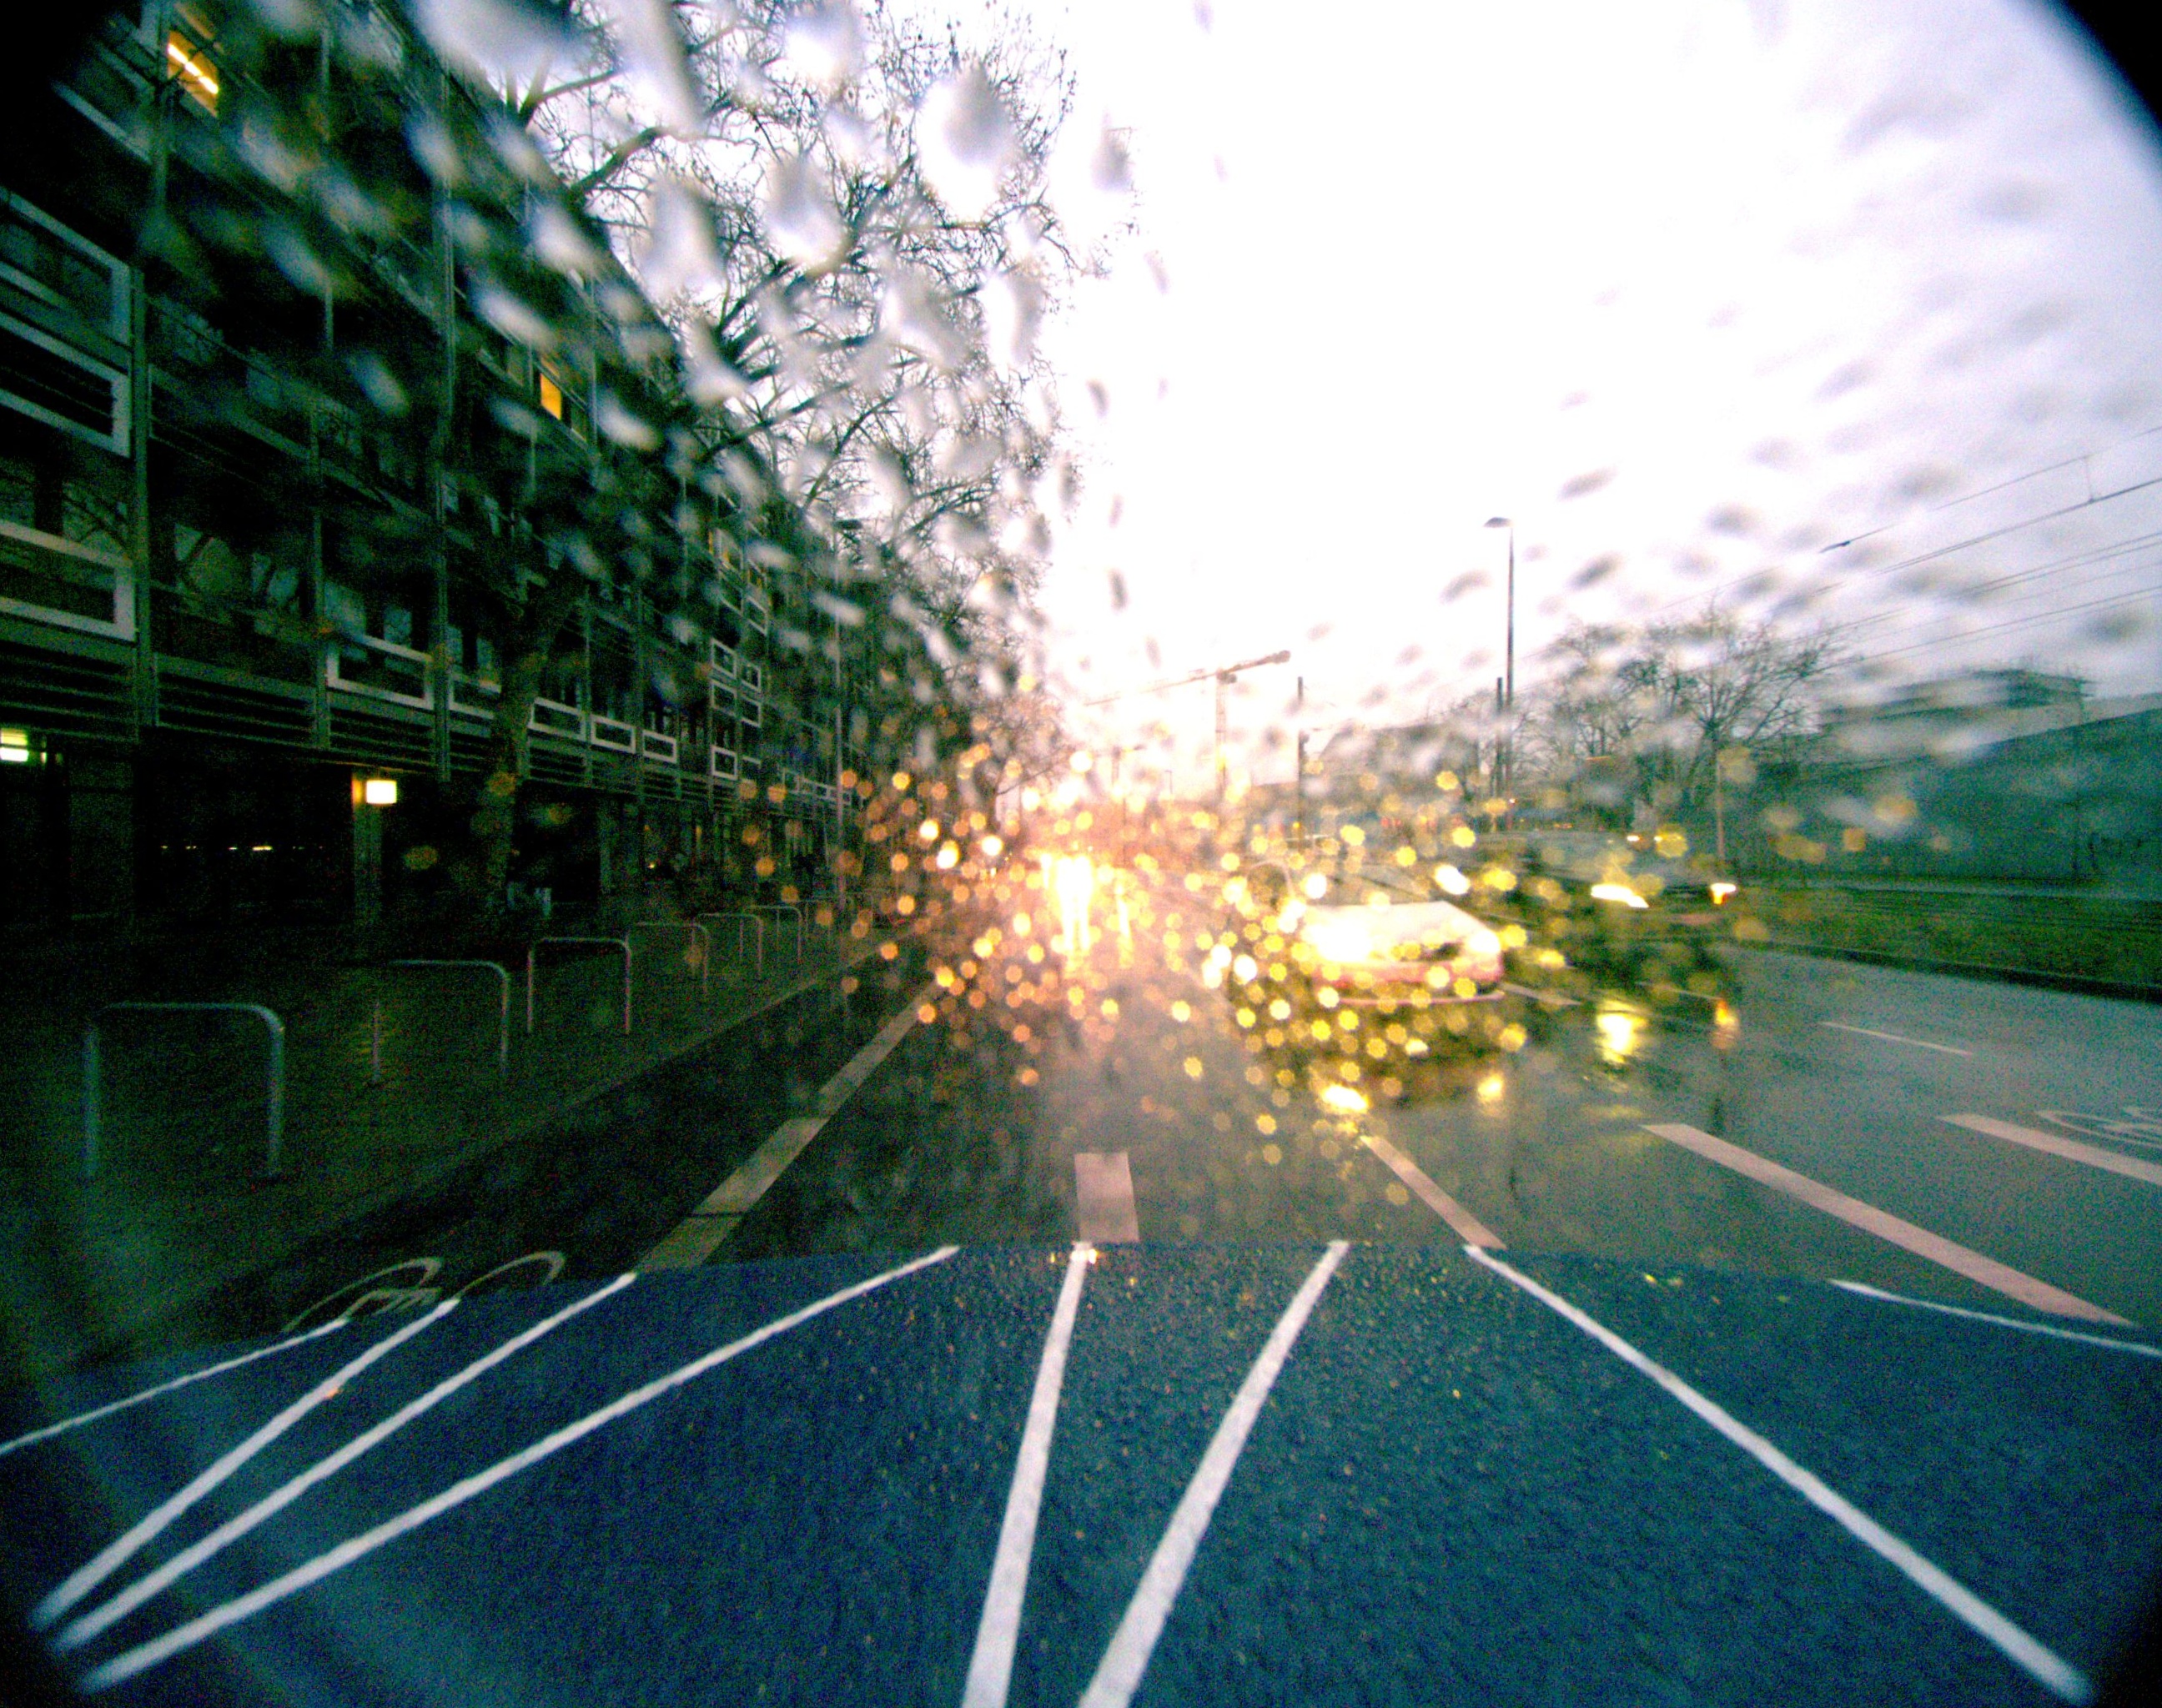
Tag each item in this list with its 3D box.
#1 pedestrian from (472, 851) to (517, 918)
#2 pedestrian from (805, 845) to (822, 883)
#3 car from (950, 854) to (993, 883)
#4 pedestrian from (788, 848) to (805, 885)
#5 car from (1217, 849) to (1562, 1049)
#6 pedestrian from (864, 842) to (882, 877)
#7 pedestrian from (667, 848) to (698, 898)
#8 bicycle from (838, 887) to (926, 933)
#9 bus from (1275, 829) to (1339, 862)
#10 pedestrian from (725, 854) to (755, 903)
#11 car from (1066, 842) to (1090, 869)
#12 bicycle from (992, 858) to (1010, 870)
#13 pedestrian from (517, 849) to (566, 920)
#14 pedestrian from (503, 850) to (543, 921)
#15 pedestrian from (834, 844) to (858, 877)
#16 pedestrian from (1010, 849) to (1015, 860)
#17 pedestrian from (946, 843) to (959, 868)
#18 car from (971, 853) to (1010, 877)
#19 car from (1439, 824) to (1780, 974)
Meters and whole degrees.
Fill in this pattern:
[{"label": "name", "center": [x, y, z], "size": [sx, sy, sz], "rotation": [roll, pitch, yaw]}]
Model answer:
[{"label": "pedestrian", "center": [-13.983, 0.708, 18.125], "size": [0.484, 1.555, 0.745], "rotation": [0, 1, -1]}, {"label": "pedestrian", "center": [-12.201, 0.432, 34.613], "size": [0.661, 1.708, 0.841], "rotation": [-1, 1, -22]}, {"label": "car", "center": [-6.108, 0.781, 42.727], "size": [1.608, 1.424, 3.930], "rotation": [2, 1, 2]}, {"label": "pedestrian", "center": [-12.872, 0.552, 34.384], "size": [0.642, 1.645, 0.841], "rotation": [-1, 1, -19]}, {"label": "car", "center": [2.786, 0.725, 7.984], "size": [1.778, 1.466, 4.128], "rotation": [-3, 1, -2]}, {"label": "pedestrian", "center": [-12.065, 0.341, 44.009], "size": [0.822, 2.002, 0.735], "rotation": [0, 1, -2]}, {"label": "pedestrian", "center": [-13.446, 0.629, 25.655], "size": [0.617, 1.647, 0.780], "rotation": [0, 1, 1]}, {"label": "bicycle", "center": [-4.426, 1.242, 16.956], "size": [1.792, 0.968, 0.617], "rotation": [1, 1, -4]}, {"label": "bus", "center": [26.253, -0.948, 89.066], "size": [2.815, 3.557, 12.299], "rotation": [-1, 0, -6]}, {"label": "pedestrian", "center": [-10.853, 0.780, 24.170], "size": [0.649, 1.535, 0.615], "rotation": [0, 1, 1]}, {"label": "car", "center": [-0.206, 0.114, 59.945], "size": [1.858, 2.002, 4.000], "rotation": [-1, 0, 1]}, {"label": "bicycle", "center": [-7.106, 0.907, 67.653], "size": [1.523, 1.030, 0.469], "rotation": [-2, 1, -7]}, {"label": "pedestrian", "center": [-12.815, 0.709, 18.081], "size": [0.501, 1.658, 0.873], "rotation": [0, 1, 1]}, {"label": "pedestrian", "center": [-13.260, 0.725, 18.069], "size": [0.379, 1.658, 0.713], "rotation": [0, 1, 1]}, {"label": "pedestrian", "center": [-10.898, 0.282, 35.253], "size": [0.866, 1.515, 0.837], "rotation": [0, 1, -2]}, {"label": "pedestrian", "center": [-12.563, 0.100, 139.206], "size": [0.838, 2.002, 0.771], "rotation": [-2, 2, 0]}, {"label": "pedestrian", "center": [-10.402, 0.158, 61.515], "size": [0.791, 2.002, 1.024], "rotation": [0, 1, 0]}, {"label": "car", "center": [-5.828, 0.698, 49.291], "size": [1.998, 1.477, 4.000], "rotation": [1, 0, 1]}, {"label": "car", "center": [7.283, 0.508, 11.209], "size": [1.707, 1.733, 4.610], "rotation": [-1, 1, -2]}]
